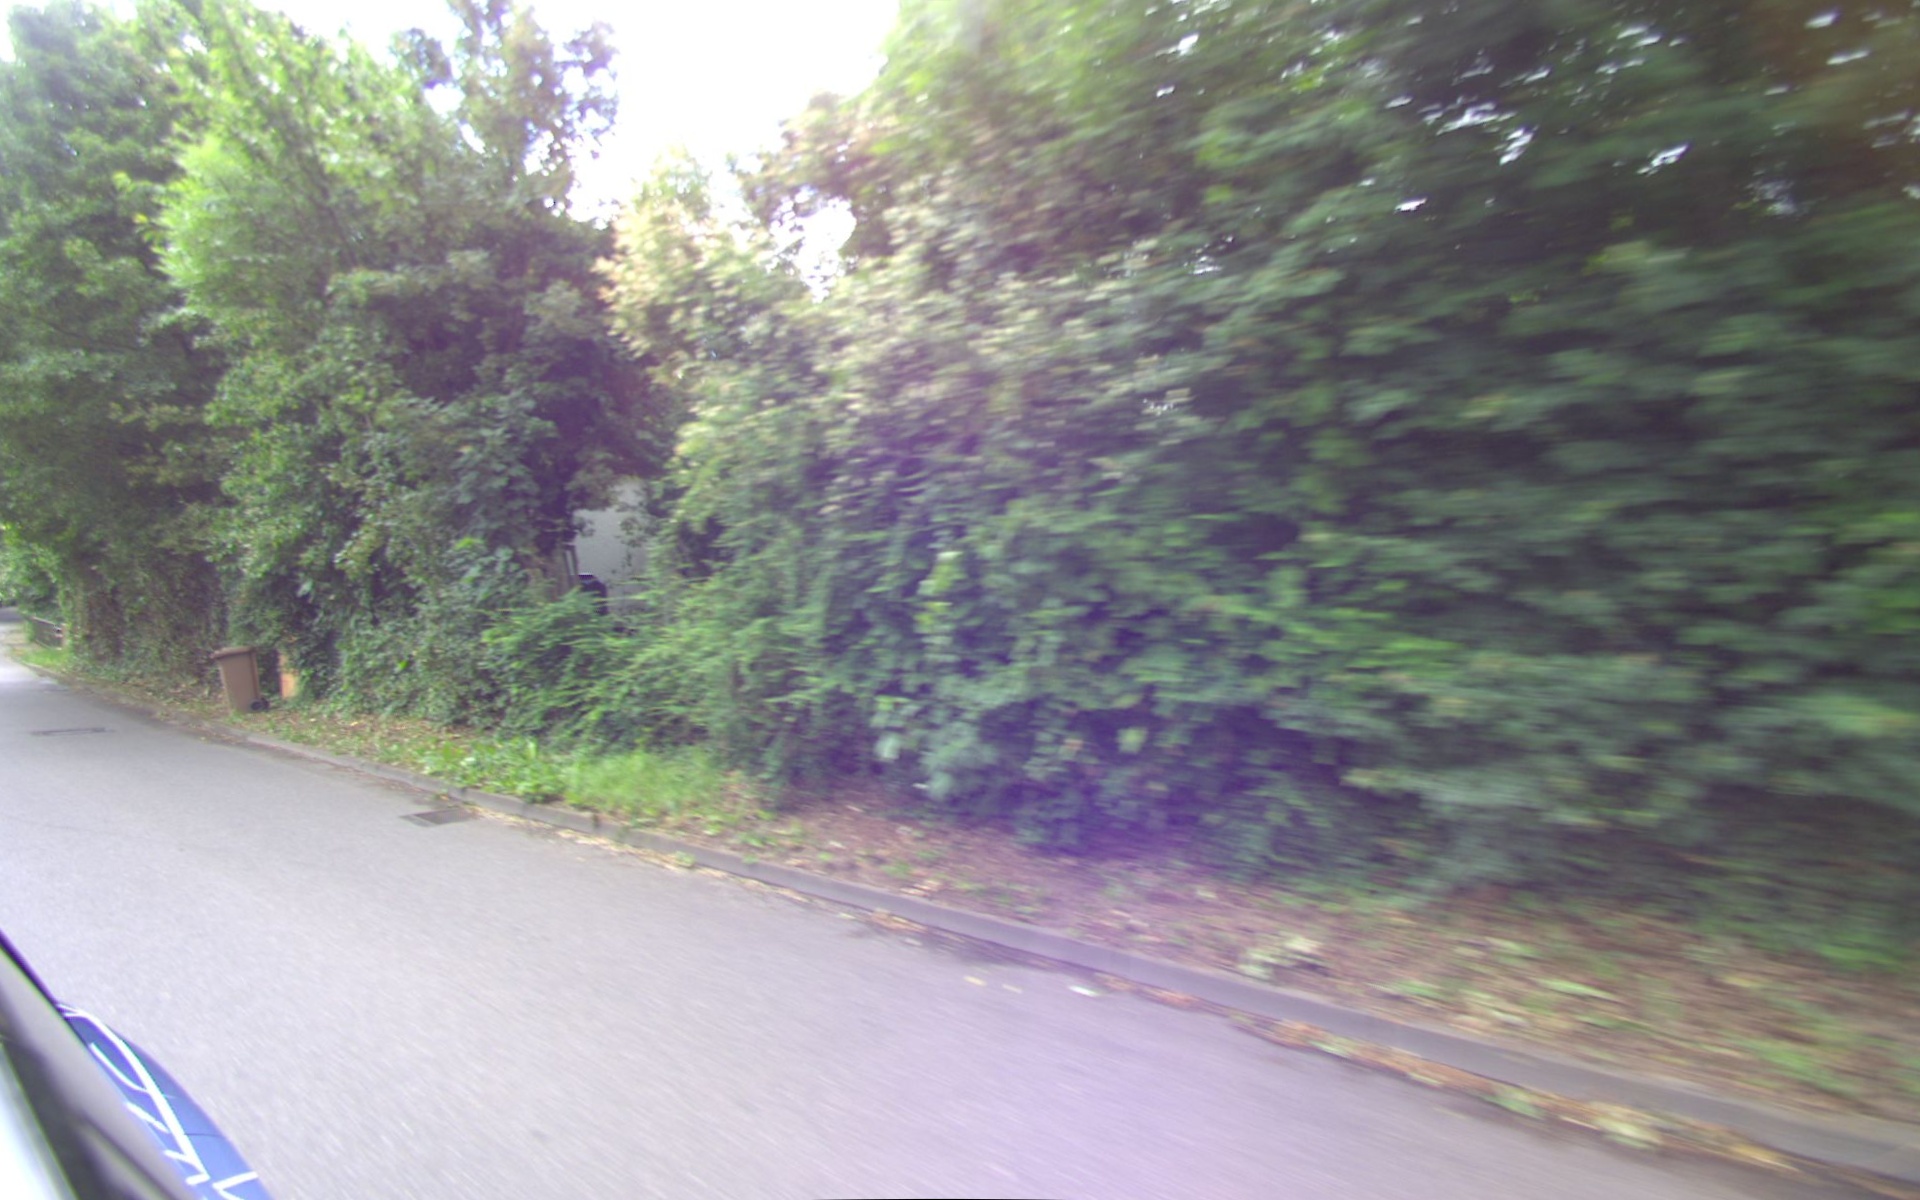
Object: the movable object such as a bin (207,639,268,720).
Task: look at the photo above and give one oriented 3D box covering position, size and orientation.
[{"bbox_3d":[-9.676,1.045,13.572,0.640,1.020,0.633,0,0,-33],"label":"movable object such as a bin"}]
